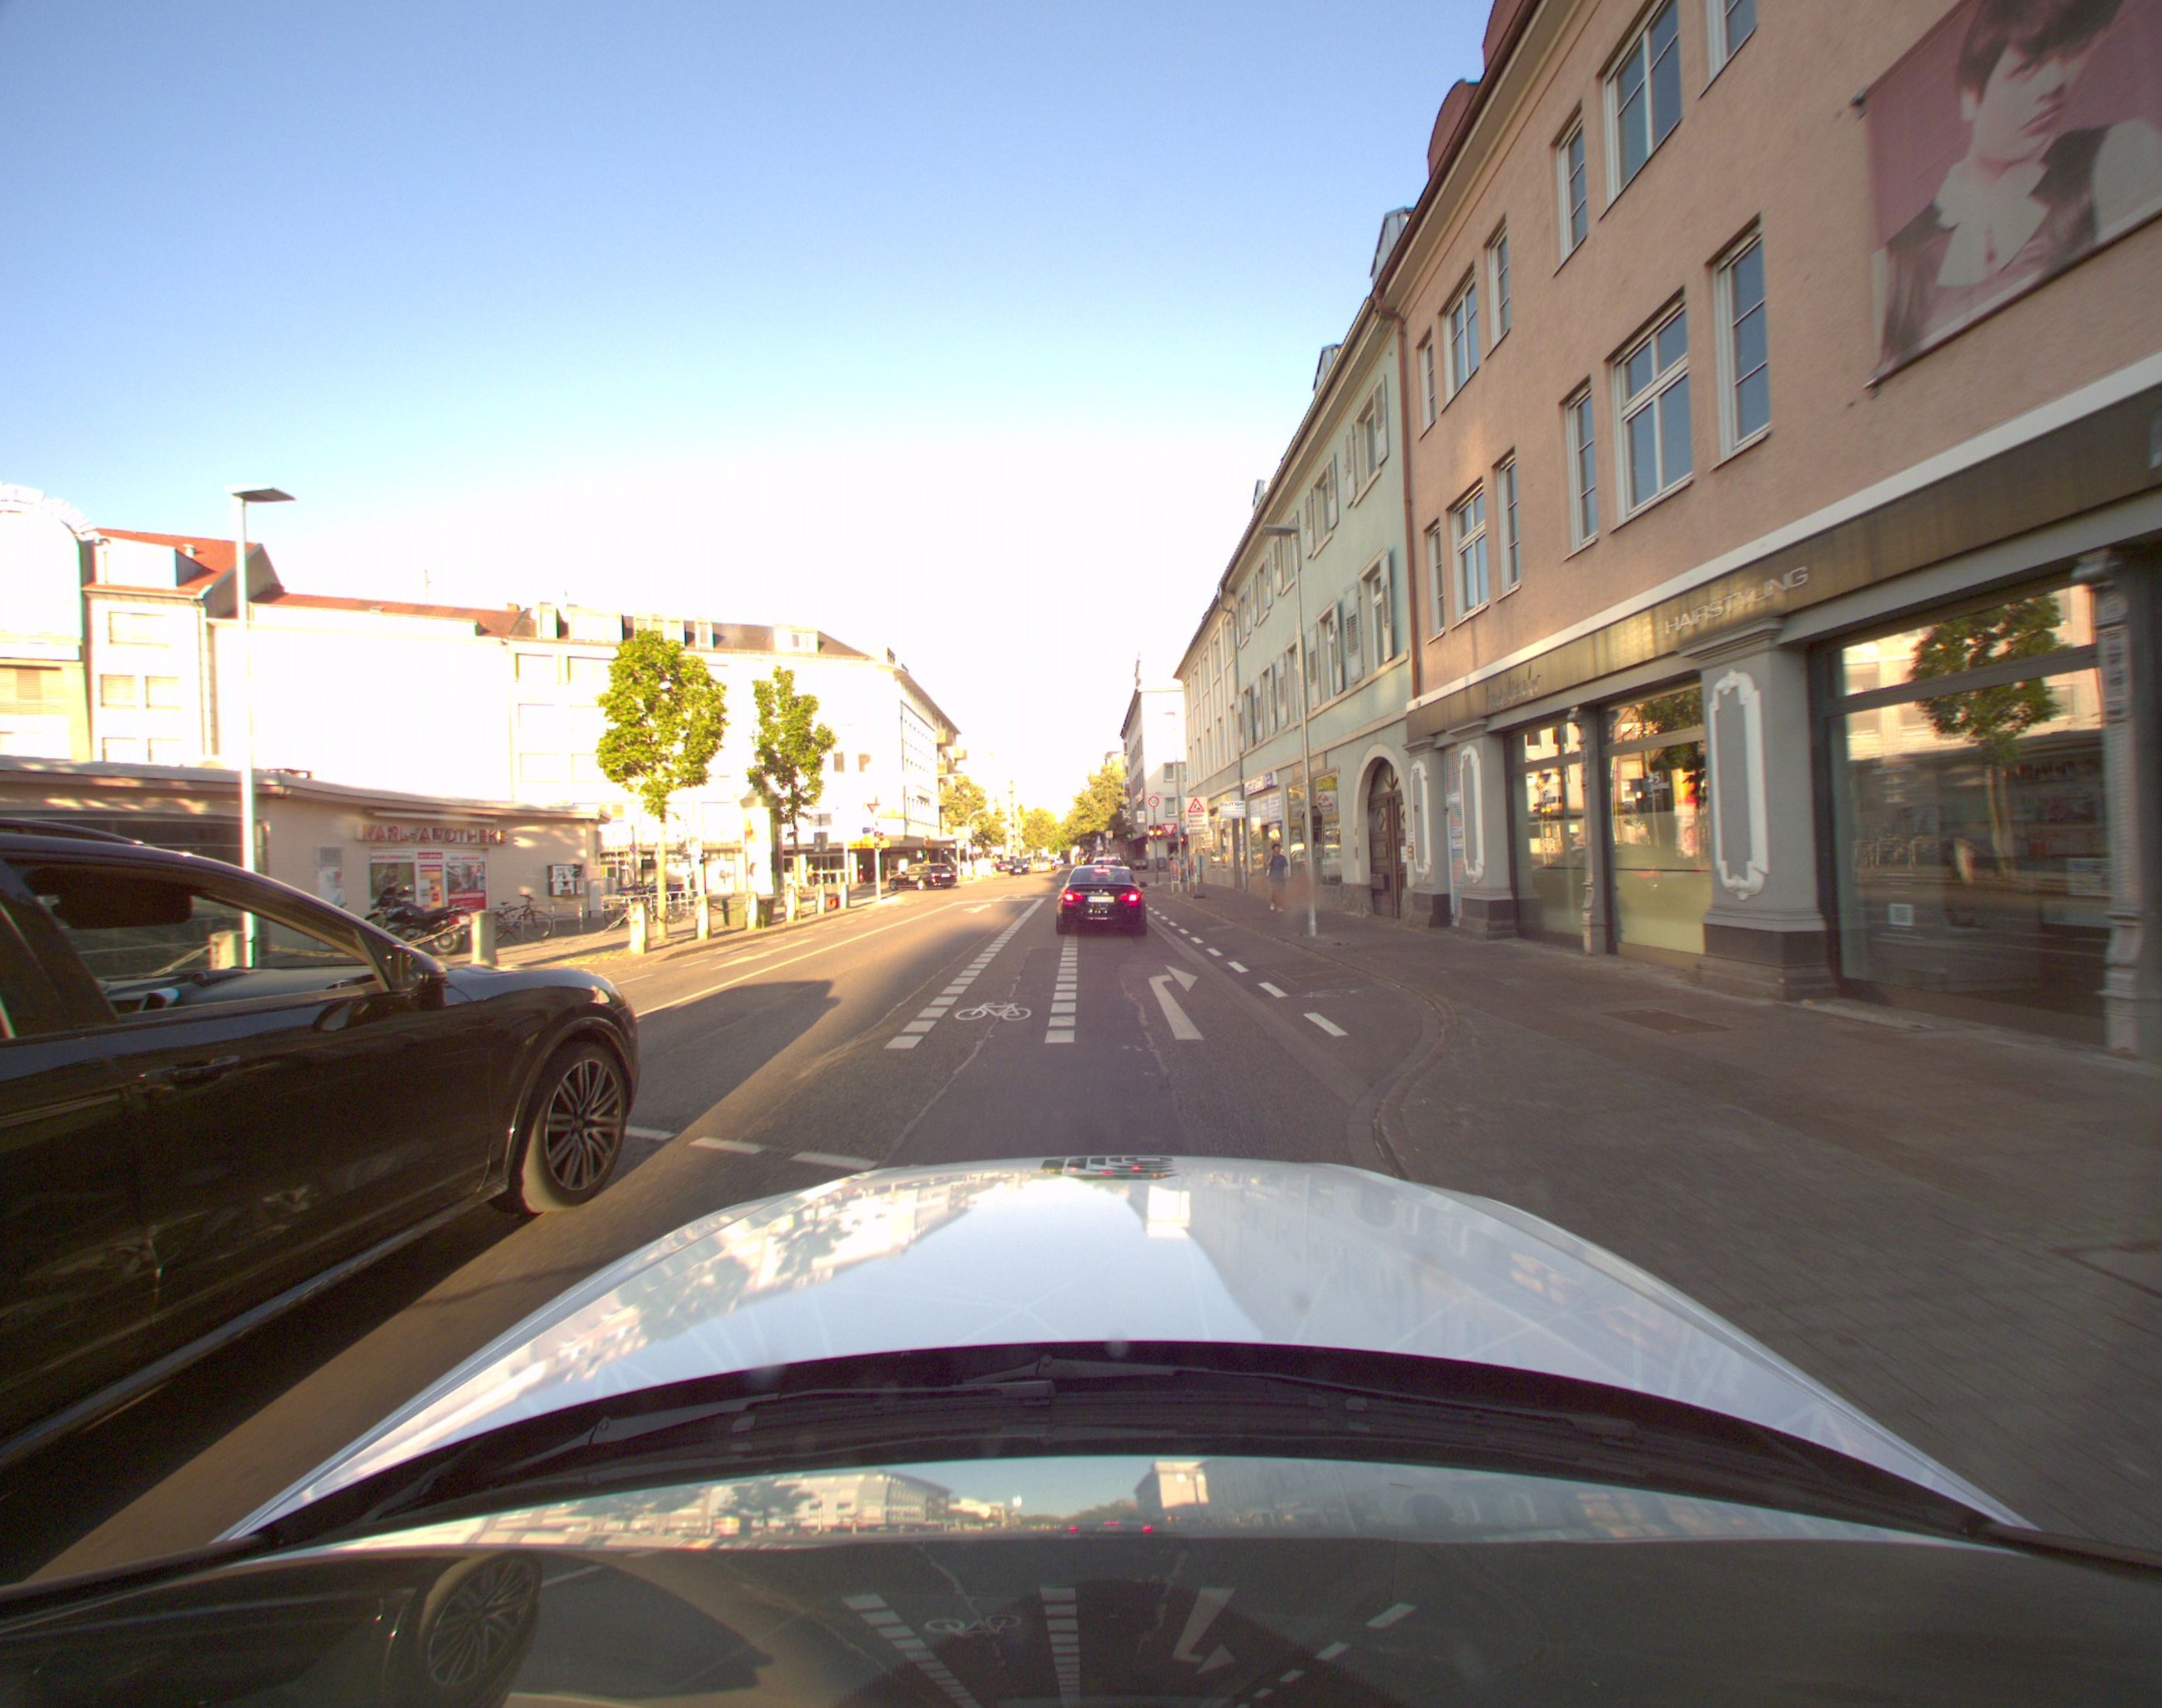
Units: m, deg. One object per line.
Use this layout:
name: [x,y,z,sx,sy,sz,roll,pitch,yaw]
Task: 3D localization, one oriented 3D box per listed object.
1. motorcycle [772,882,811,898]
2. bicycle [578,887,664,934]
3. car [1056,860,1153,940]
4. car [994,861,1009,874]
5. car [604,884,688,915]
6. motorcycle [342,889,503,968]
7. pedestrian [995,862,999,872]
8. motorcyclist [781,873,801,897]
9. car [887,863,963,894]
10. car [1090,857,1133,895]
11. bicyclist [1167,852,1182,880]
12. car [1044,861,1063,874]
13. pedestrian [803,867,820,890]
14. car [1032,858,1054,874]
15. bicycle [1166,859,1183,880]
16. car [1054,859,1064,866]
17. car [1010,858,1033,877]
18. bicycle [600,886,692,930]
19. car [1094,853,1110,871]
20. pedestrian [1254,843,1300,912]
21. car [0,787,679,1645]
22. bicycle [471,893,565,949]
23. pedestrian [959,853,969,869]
motorcycle: [-16.970,2.108,47.761,2.028,0.780,0.661,-3,0,-12]
bicycle: [-13.995,1.700,24.818,1.998,1.256,0.950,-3,0,1]
car: [0.418,0.925,18.291,1.898,1.540,4.447,0,0,-1]
car: [-10.199,1.711,104.572,1.732,1.461,3.992,-3,0,-6]
car: [-24.960,2.599,46.883,4.001,1.486,1.986,-2,0,-21]
motorcycle: [-13.626,1.518,16.897,2.572,1.429,0.868,-3,0,1]
pedestrian: [-12.661,1.955,122.382,0.443,1.416,0.525,-3,-1,-3]
motorcyclist: [-16.979,1.815,47.723,0.993,1.319,0.764,-2,0,-14]
car: [-8.796,1.362,45.699,4.393,1.595,1.890,-2,0,43]
car: [1.381,0.986,37.889,1.826,1.576,4.101,-2,0,1]
bicyclist: [5.230,0.686,45.554,0.719,1.507,0.900,-3,-1,1]
car: [-3.041,1.496,89.985,1.732,1.293,3.992,-3,0,-6]
pedestrian: [-18.800,1.731,56.817,0.950,1.537,0.901,-2,-1,-25]
car: [-3.950,1.212,83.214,1.991,1.442,3.992,-3,0,-6]
bicycle: [5.236,0.852,45.637,0.688,1.107,1.896,-3,0,0]
car: [-4.509,1.703,165.993,1.732,1.293,3.992,-3,0,-6]
car: [-5.704,1.272,77.720,1.991,1.618,3.992,-3,0,-6]
bicycle: [-13.899,1.715,26.057,2.435,1.256,0.787,-3,0,1]
car: [2.164,0.844,86.474,1.418,1.855,3.049,-2,-1,-3]
pedestrian: [4.809,0.566,20.069,0.821,1.642,0.871,-3,-1,-2]
car: [-3.170,0.772,2.113,1.943,1.714,4.560,-3,0,-1]
bicycle: [-13.949,1.648,20.213,1.847,1.256,0.633,-3,0,1]
pedestrian: [-12.585,0.797,87.607,0.821,1.676,0.871,-3,-1,-1]
